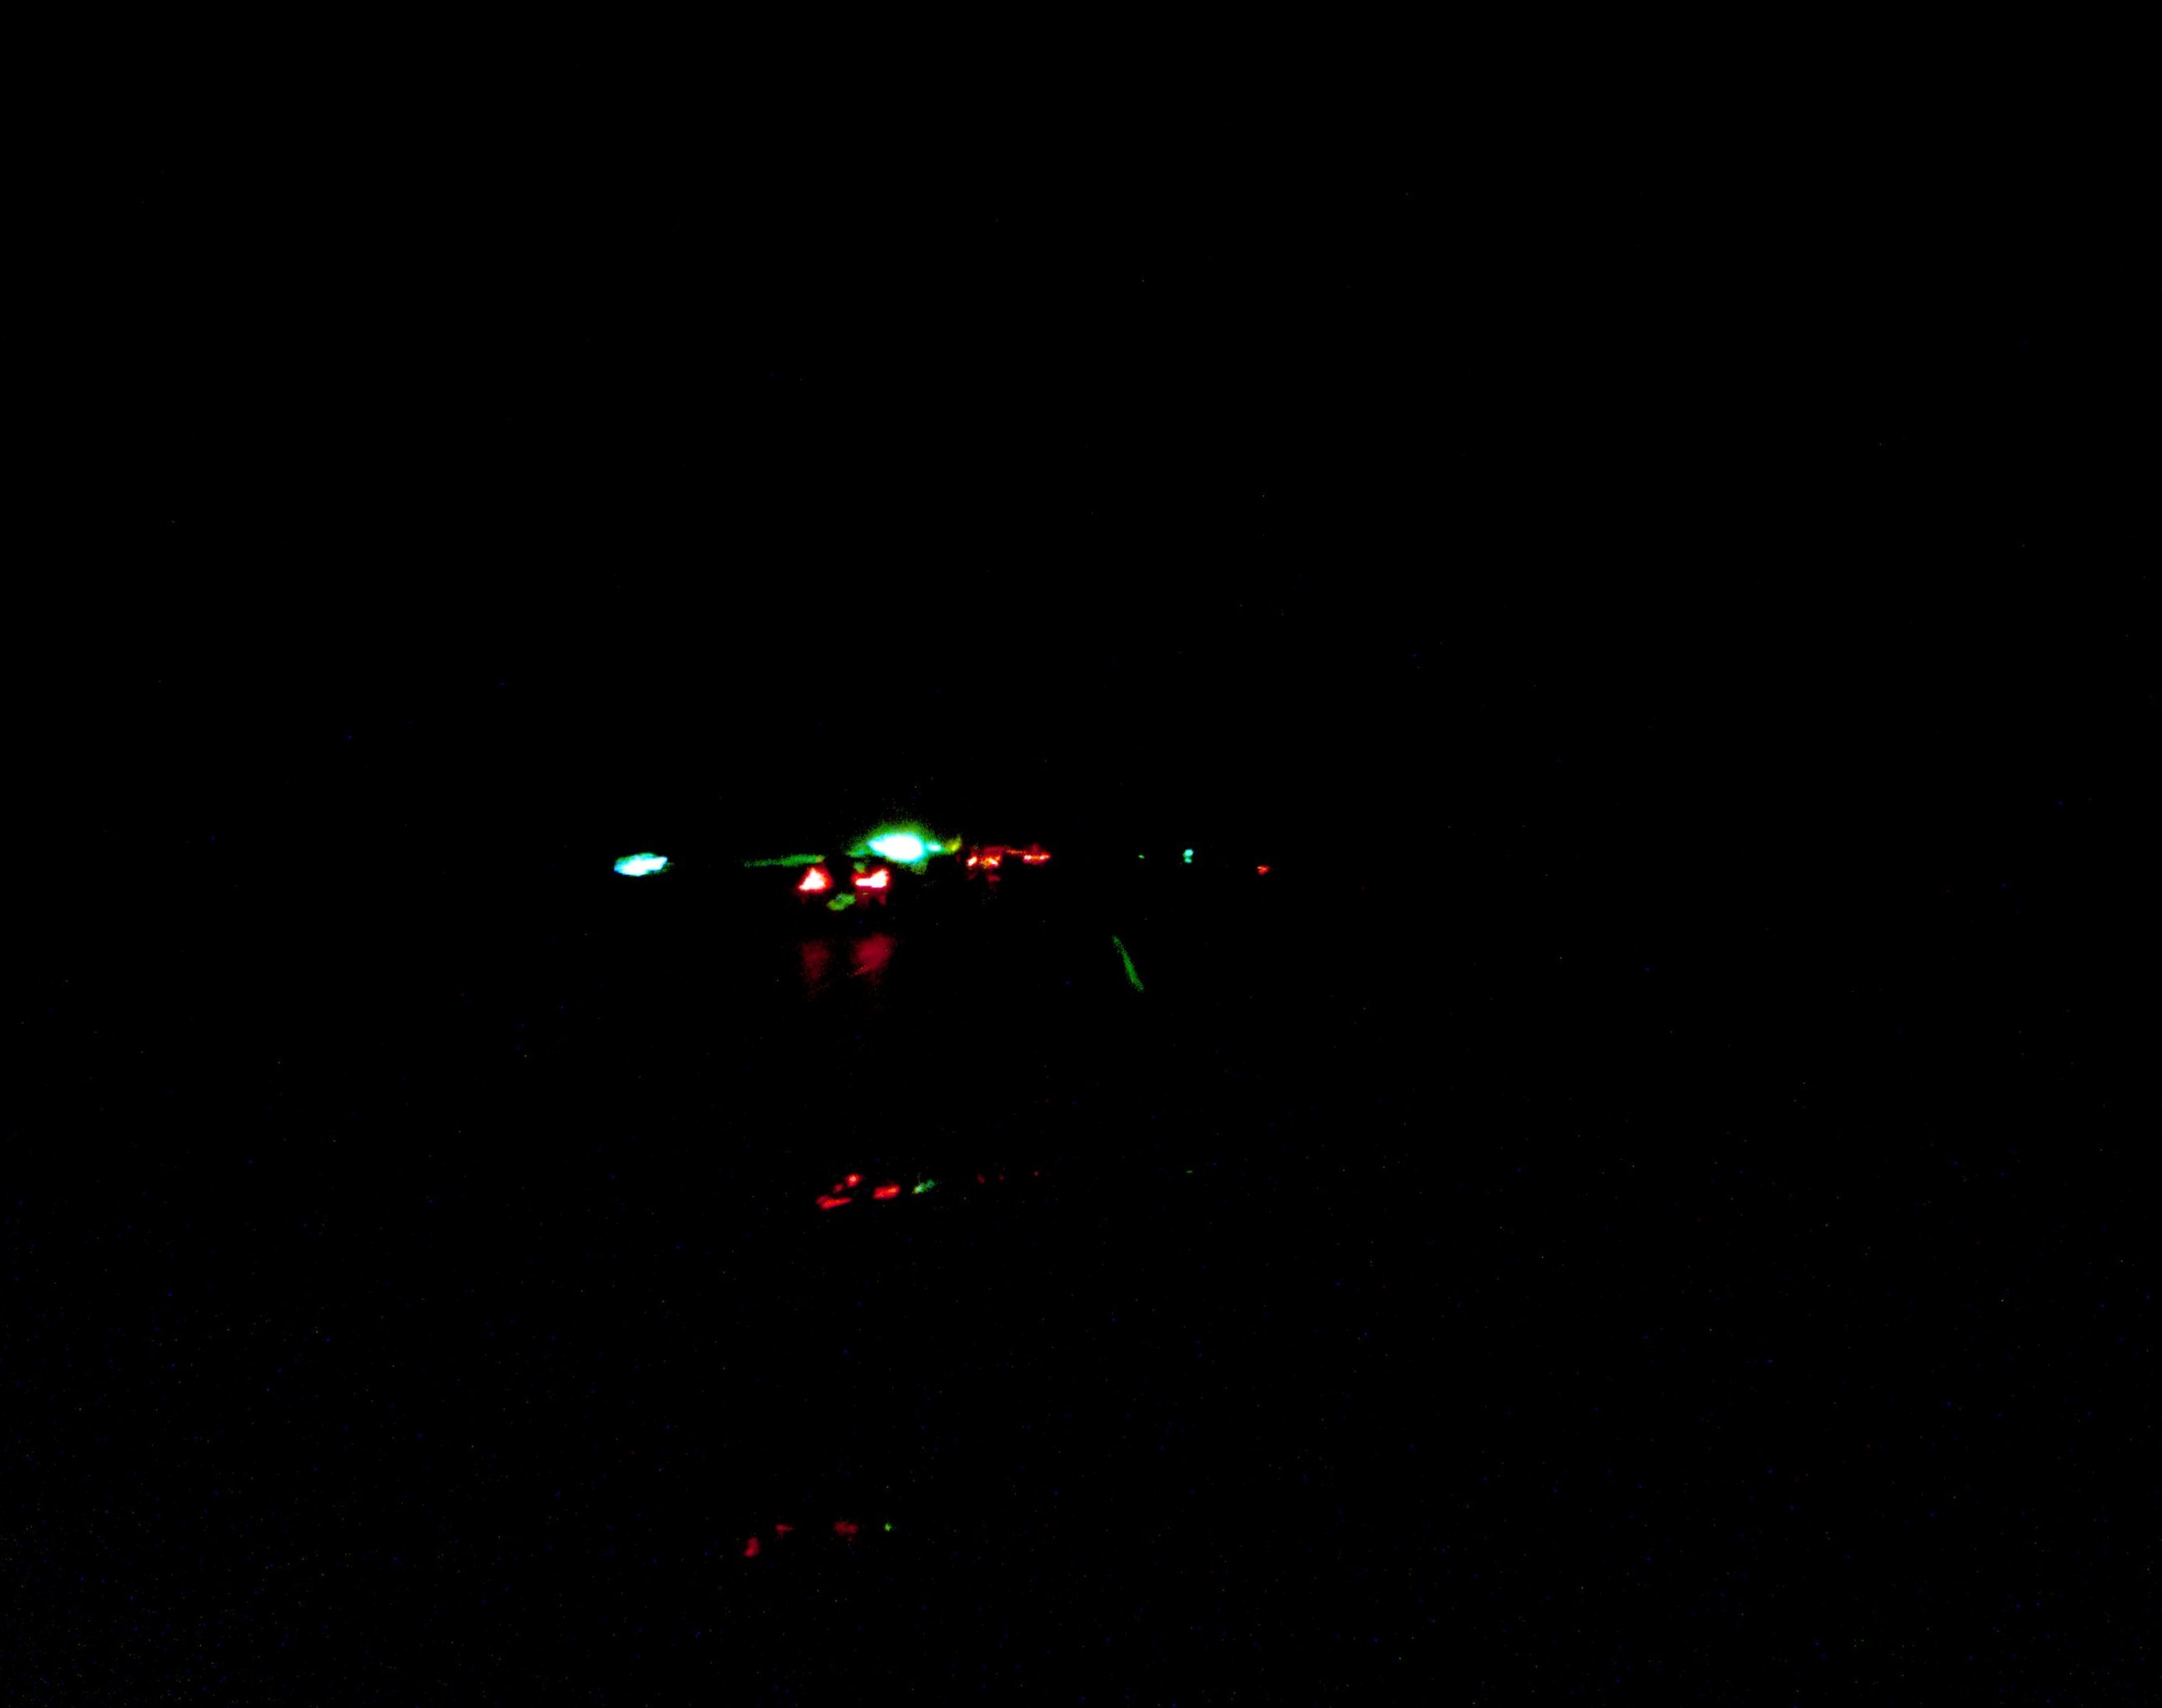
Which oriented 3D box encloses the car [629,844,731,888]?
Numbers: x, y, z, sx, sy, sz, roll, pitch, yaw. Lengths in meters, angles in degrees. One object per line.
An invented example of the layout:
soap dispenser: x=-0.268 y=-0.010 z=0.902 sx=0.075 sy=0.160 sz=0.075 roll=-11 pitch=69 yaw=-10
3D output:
car: x=-14.368 y=0.404 z=29.451 sx=1.737 sy=1.492 sz=3.999 roll=0 pitch=0 yaw=0

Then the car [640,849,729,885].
car: x=-17.365 y=0.549 z=35.898 sx=1.987 sy=1.492 sz=3.999 roll=0 pitch=0 yaw=0

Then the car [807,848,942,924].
car: x=-4.847 y=0.699 z=19.898 sx=1.851 sy=1.541 sz=4.753 roll=3 pitch=0 yaw=2

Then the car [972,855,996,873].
car: x=-7.105 y=0.749 z=59.935 sx=1.660 sy=1.236 sz=3.753 roll=0 pitch=-1 yaw=-6

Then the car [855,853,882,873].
car: x=-16.553 y=0.673 z=63.514 sx=1.572 sy=1.492 sz=3.989 roll=0 pitch=0 yaw=-8

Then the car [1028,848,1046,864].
car: x=-4.448 y=0.201 z=82.611 sx=1.798 sy=1.487 sz=3.996 roll=1 pitch=0 yaw=-3

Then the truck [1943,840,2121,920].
truck: x=53.742 y=1.435 z=46.191 sx=2.777 sy=4.223 sz=6.133 roll=0 pitch=-1 yaw=-31

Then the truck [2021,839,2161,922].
truck: x=57.268 y=1.317 z=40.320 sx=2.776 sy=4.223 sz=13.688 roll=0 pitch=-1 yaw=-31

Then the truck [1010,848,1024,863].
truck: x=-12.883 y=0.338 z=163.516 sx=1.994 sy=3.043 sz=6.439 roll=0 pitch=-1 yaw=-11
